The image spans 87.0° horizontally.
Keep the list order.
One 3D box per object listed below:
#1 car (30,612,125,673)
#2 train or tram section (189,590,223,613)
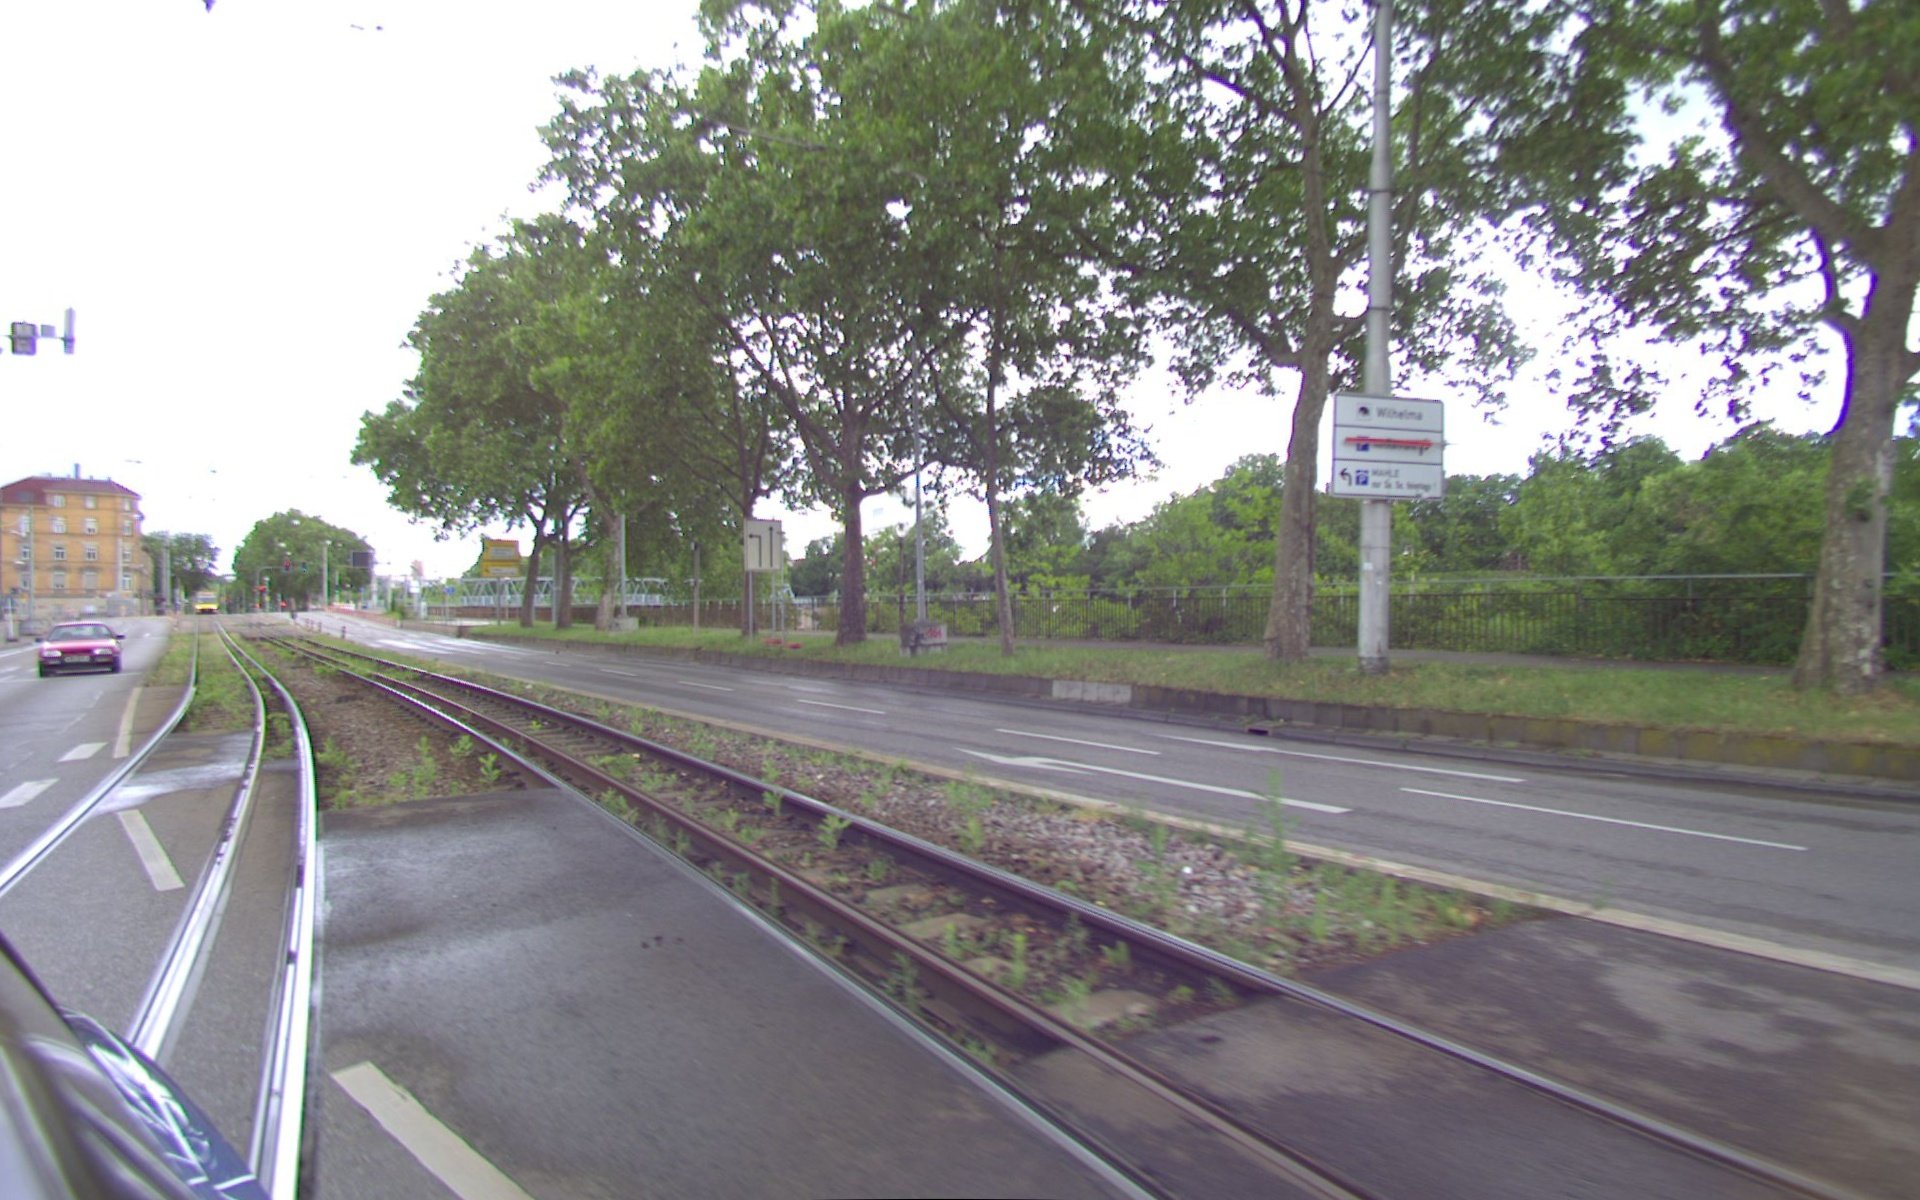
[{"bbox_3d":[-23.913,1.081,27.527,1.655,1.453,4.128,-3,1,-38],"label":"car"},{"bbox_3d":[-115.070,0.150,154.267,3.682,3.391,17.592,1,0,-38],"label":"train or tram section"}]
